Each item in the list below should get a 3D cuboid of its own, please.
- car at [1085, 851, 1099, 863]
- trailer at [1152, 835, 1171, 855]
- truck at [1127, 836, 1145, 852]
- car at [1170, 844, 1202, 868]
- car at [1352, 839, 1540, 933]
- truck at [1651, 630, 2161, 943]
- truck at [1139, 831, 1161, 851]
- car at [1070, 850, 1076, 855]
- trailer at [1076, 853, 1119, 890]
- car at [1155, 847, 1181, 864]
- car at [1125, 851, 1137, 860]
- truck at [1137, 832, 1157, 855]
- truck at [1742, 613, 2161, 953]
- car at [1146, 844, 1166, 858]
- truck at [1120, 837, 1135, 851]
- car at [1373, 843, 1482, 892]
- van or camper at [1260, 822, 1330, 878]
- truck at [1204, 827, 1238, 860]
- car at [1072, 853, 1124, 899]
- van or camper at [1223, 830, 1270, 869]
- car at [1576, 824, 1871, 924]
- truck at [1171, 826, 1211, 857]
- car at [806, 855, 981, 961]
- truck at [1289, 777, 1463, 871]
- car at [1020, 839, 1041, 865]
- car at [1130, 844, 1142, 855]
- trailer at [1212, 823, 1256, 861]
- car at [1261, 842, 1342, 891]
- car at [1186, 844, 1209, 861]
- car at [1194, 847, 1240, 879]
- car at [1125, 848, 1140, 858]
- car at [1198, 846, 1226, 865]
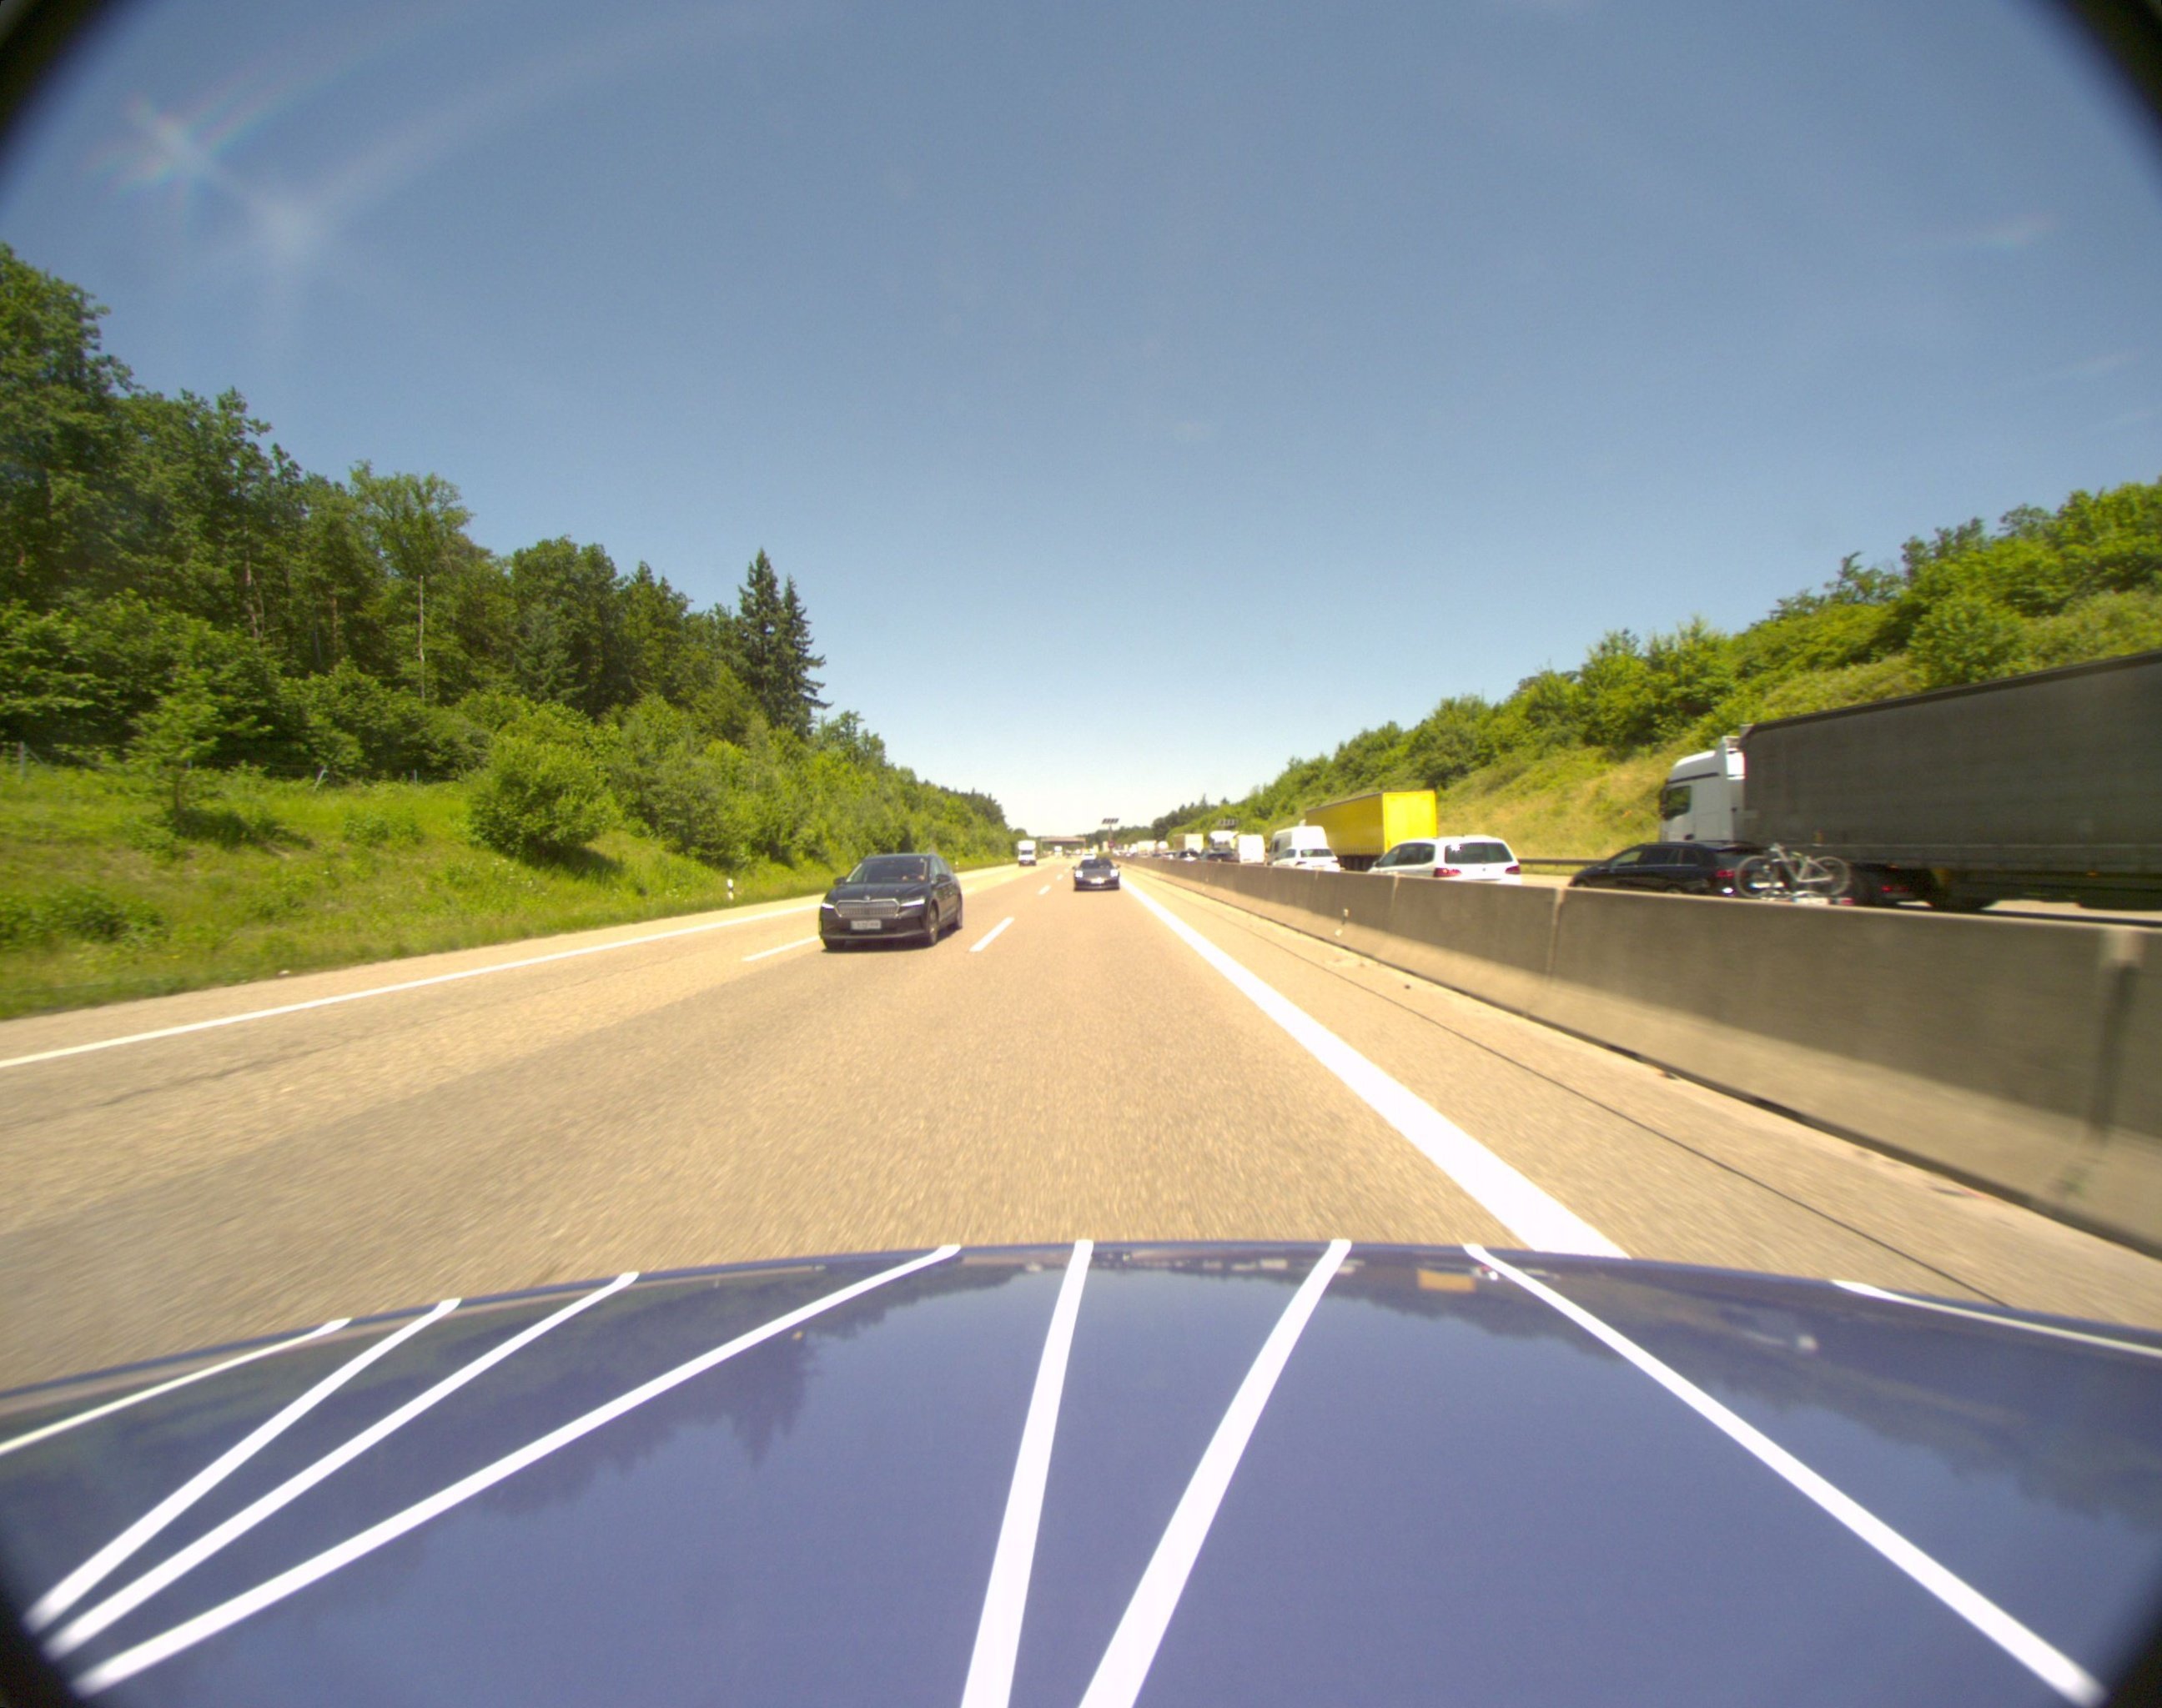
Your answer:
[{"bbox_3d":[1.334,0.334,97.319,1.718,1.432,4.456,-1,1,0],"label":"car"},{"bbox_3d":[16.694,-1.815,158.106,2.584,3.273,11.700,-2,-3,-1],"label":"trailer"},{"bbox_3d":[16.217,-2.970,225.984,3.706,4.431,19.447,-2,1,0],"label":"truck"},{"bbox_3d":[8.464,0.127,61.464,1.832,1.754,4.989,-2,1,0],"label":"car"},{"bbox_3d":[7.978,0.582,17.249,1.832,1.754,4.989,-2,1,0],"label":"car"},{"bbox_3d":[16.090,-1.070,15.287,2.949,4.490,8.604,-2,1,2],"label":"truck"},{"bbox_3d":[16.725,-3.118,184.382,3.706,4.431,17.377,-2,1,0],"label":"truck"},{"bbox_3d":[-2.605,-0.585,237.540,1.719,1.432,4.015,-2,1,-1],"label":"car"},{"bbox_3d":[0.744,0.703,31.799,1.689,1.399,3.046,-2,1,3],"label":"trailer"},{"bbox_3d":[8.361,0.155,73.588,1.832,1.488,4.757,-2,1,-1],"label":"car"},{"bbox_3d":[9.226,0.296,140.640,1.832,1.488,4.757,-2,1,-1],"label":"car"},{"bbox_3d":[9.122,-1.473,105.069,2.273,2.999,6.776,-2,1,2],"label":"truck"},{"bbox_3d":[15.900,-0.983,9.785,3.002,4.517,13.923,-2,1,2],"label":"truck"},{"bbox_3d":[8.756,-0.356,88.672,1.832,1.488,4.758,-2,1,0],"label":"car"},{"bbox_3d":[15.840,-3.552,260.884,3.706,4.431,19.447,-2,1,0],"label":"truck"},{"bbox_3d":[12.367,0.419,27.481,1.832,1.556,4.522,-2,1,0],"label":"car"},{"bbox_3d":[12.230,-0.281,44.029,2.202,2.922,7.534,-2,1,3],"label":"van or camper"},{"bbox_3d":[16.426,-1.261,89.618,2.685,3.722,5.870,-2,1,-1],"label":"truck"},{"bbox_3d":[0.684,0.752,28.476,1.718,1.432,4.457,-3,1,2],"label":"car"},{"bbox_3d":[12.856,-0.385,59.461,2.257,2.760,7.217,-2,1,2],"label":"van or camper"},{"bbox_3d":[11.982,0.291,14.679,1.832,1.556,4.522,-2,1,0],"label":"car"},{"bbox_3d":[17.028,-2.005,119.392,3.706,4.431,17.377,-2,1,0],"label":"truck"},{"bbox_3d":[-3.317,0.886,14.470,1.989,1.610,4.458,-1,1,3],"label":"car"},{"bbox_3d":[16.653,-1.600,45.334,3.706,4.431,16.670,-2,1,0],"label":"truck"},{"bbox_3d":[-6.752,-0.365,102.243,2.303,3.317,7.620,-2,1,0],"label":"car"},{"bbox_3d":[13.154,-1.087,181.653,2.190,2.371,6.539,-2,1,-1],"label":"car"},{"bbox_3d":[16.479,-1.243,82.701,2.617,3.711,10.681,-2,0,1],"label":"trailer"},{"bbox_3d":[8.929,0.428,31.209,1.832,1.754,4.989,-2,1,0],"label":"car"},{"bbox_3d":[13.109,-0.229,85.989,1.832,1.754,4.990,-2,1,0],"label":"car"},{"bbox_3d":[8.231,0.473,46.416,1.832,1.754,4.989,-2,1,0],"label":"car"},{"bbox_3d":[8.192,-0.243,121.585,1.832,1.488,4.757,-2,1,-1],"label":"car"},{"bbox_3d":[12.676,0.126,73.972,2.002,1.718,4.759,-2,1,2],"label":"car"}]
